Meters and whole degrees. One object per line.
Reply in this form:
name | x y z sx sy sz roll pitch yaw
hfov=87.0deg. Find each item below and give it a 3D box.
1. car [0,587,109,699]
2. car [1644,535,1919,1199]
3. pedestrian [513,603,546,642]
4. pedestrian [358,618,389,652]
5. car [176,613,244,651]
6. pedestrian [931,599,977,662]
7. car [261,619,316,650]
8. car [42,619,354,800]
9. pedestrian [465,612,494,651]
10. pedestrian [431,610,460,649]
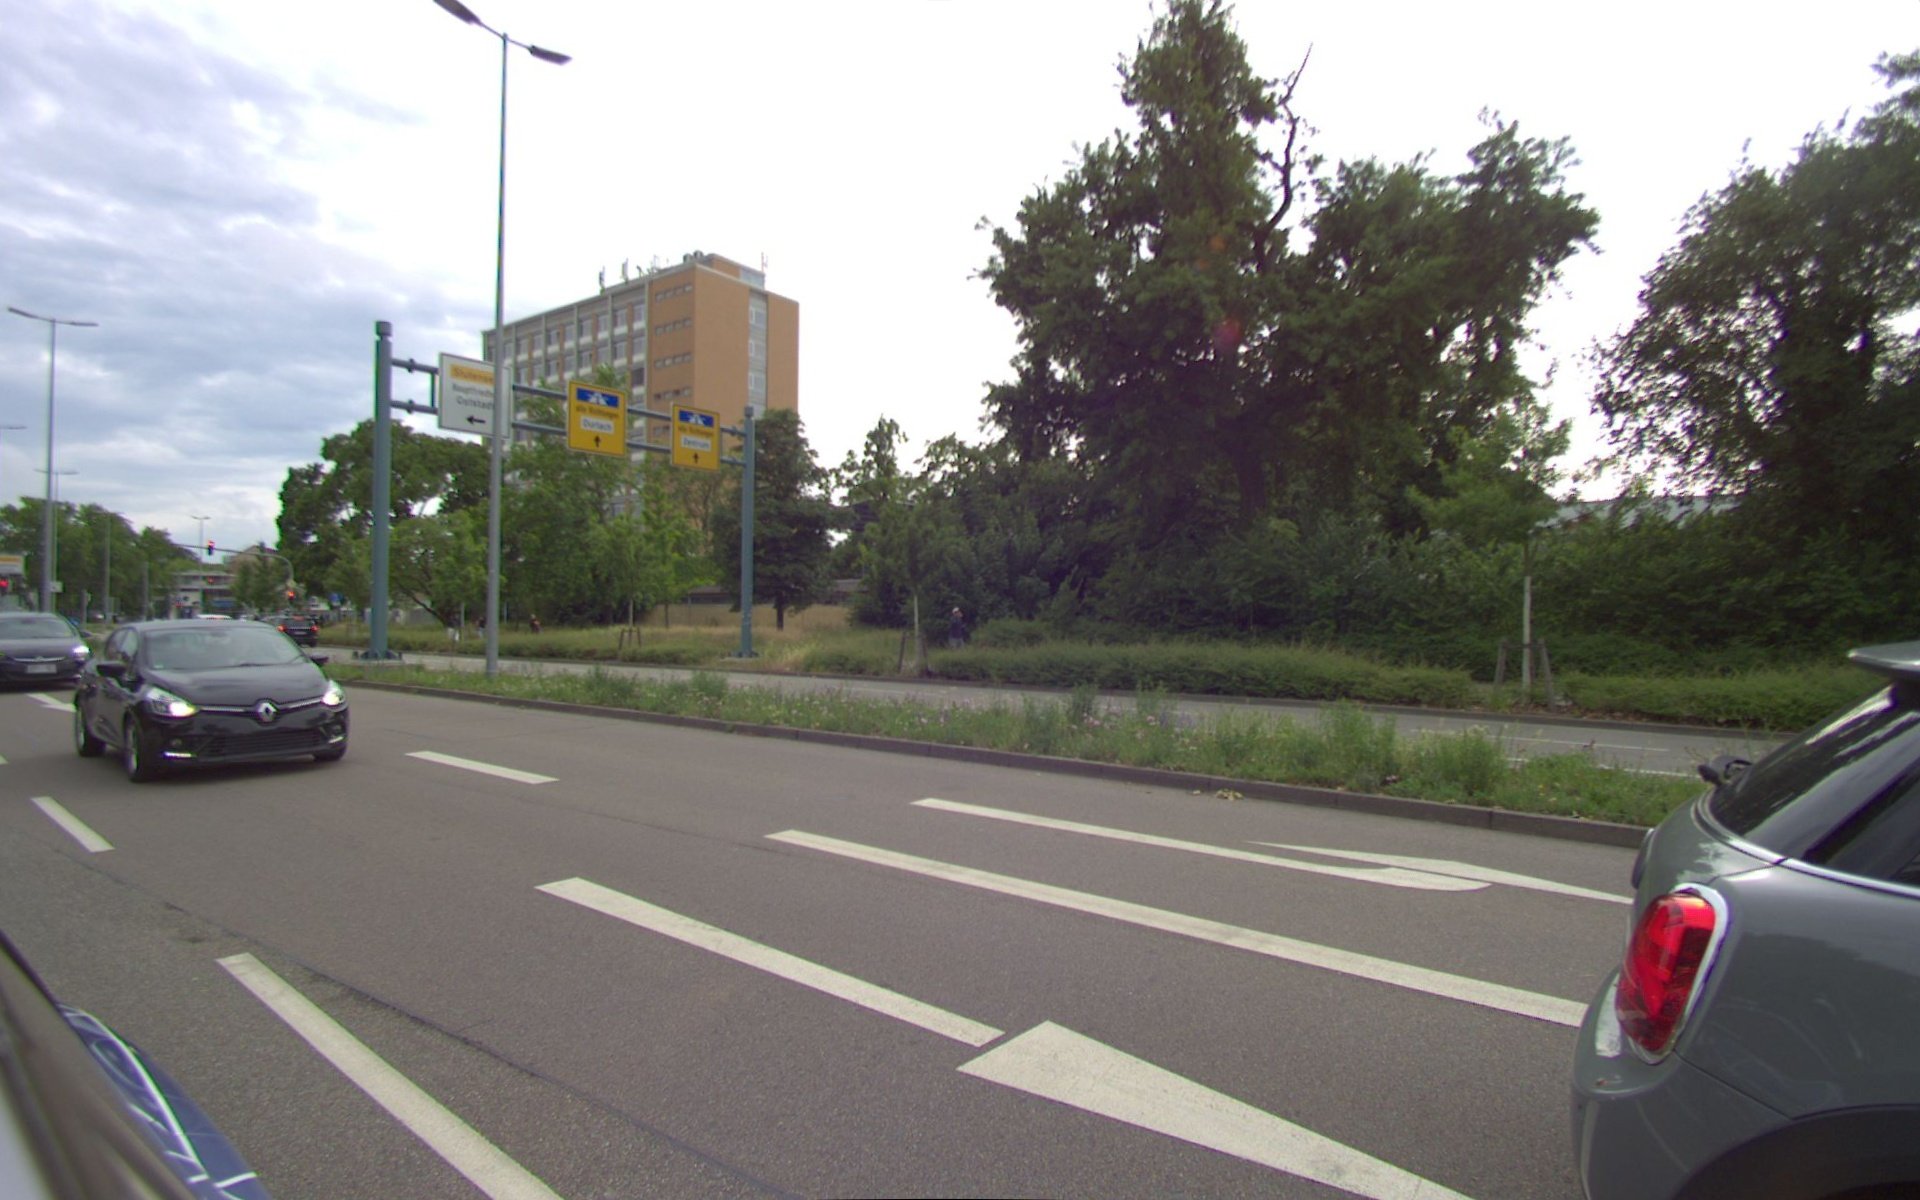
car | -18.626 0.816 20.142 3.998 2.029 1.973 -1 -2 41
car | 2.992 0.579 0.975 3.703 1.328 1.604 -1 -2 41
pedestrian | -21.710 1.141 51.039 1.163 1.933 1.122 -1 0 44
pedestrian | -35.843 2.109 61.865 1.519 2.029 1.208 -1 0 40
car | -37.865 1.567 51.067 3.997 1.786 1.869 0 0 40
pedestrian | -0.156 0.806 27.265 0.812 1.637 0.978 -1 0 38
car | -35.102 1.776 52.872 1.828 1.564 4.005 1 -1 -42
car | -7.789 0.935 10.212 3.998 1.470 1.709 -1 -2 41
pedestrian | -25.484 1.656 53.640 1.218 2.029 0.872 -1 0 33
pedestrian | -27.147 1.535 53.402 1.218 2.029 0.872 -1 0 33
